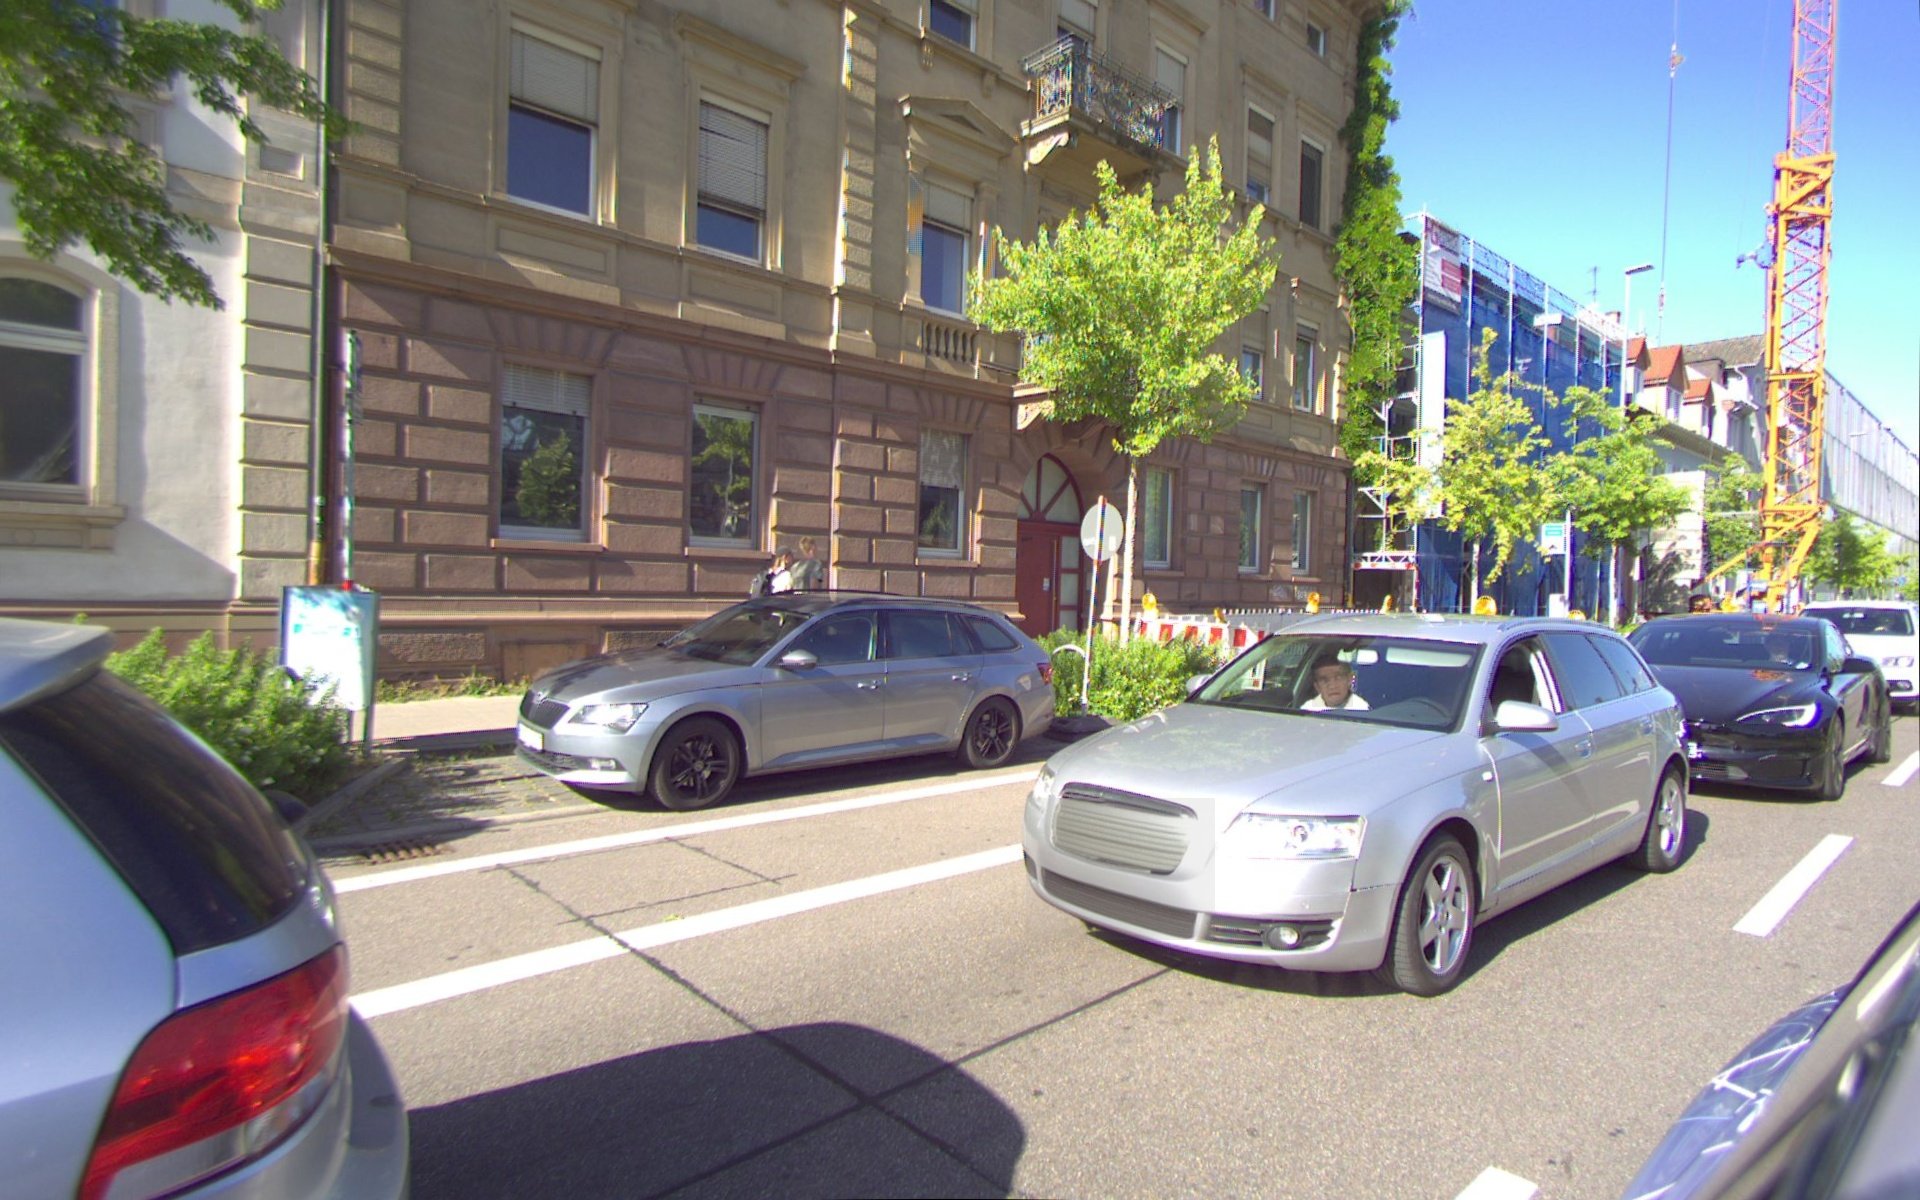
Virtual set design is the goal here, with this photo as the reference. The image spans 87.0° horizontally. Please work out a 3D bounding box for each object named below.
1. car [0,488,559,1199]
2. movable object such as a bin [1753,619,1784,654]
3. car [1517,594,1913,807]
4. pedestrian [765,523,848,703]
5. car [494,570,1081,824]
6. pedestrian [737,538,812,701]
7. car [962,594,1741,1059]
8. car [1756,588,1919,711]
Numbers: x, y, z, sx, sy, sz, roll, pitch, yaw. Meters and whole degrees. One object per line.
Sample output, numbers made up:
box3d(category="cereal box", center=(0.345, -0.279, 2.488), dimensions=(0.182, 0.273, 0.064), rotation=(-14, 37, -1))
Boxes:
box3d(category="car", center=(-2.565, 0.649, 0.661), dimensions=(3.934, 1.547, 1.753), rotation=(1, 0, -41))
box3d(category="movable object such as a bin", center=(26.497, 1.195, 33.163), dimensions=(0.717, 1.070, 0.597), rotation=(1, 4, -40))
box3d(category="car", center=(7.034, 0.705, 9.248), dimensions=(4.445, 1.462, 2.054), rotation=(1, 0, -41))
box3d(category="pedestrian", center=(-1.734, 0.131, 11.393), dimensions=(0.577, 1.936, 0.660), rotation=(1, 4, -41))
box3d(category="car", center=(-1.182, 0.601, 8.435), dimensions=(4.619, 1.493, 1.651), rotation=(0, 4, -42))
box3d(category="pedestrian", center=(-2.189, 0.218, 11.945), dimensions=(0.577, 1.843, 0.564), rotation=(1, 4, -41))
box3d(category="car", center=(2.402, 0.731, 5.388), dimensions=(4.751, 1.445, 1.752), rotation=(1, 0, -39))
box3d(category="car", center=(13.846, 0.671, 15.464), dimensions=(3.929, 1.654, 1.933), rotation=(1, 0, -41))
